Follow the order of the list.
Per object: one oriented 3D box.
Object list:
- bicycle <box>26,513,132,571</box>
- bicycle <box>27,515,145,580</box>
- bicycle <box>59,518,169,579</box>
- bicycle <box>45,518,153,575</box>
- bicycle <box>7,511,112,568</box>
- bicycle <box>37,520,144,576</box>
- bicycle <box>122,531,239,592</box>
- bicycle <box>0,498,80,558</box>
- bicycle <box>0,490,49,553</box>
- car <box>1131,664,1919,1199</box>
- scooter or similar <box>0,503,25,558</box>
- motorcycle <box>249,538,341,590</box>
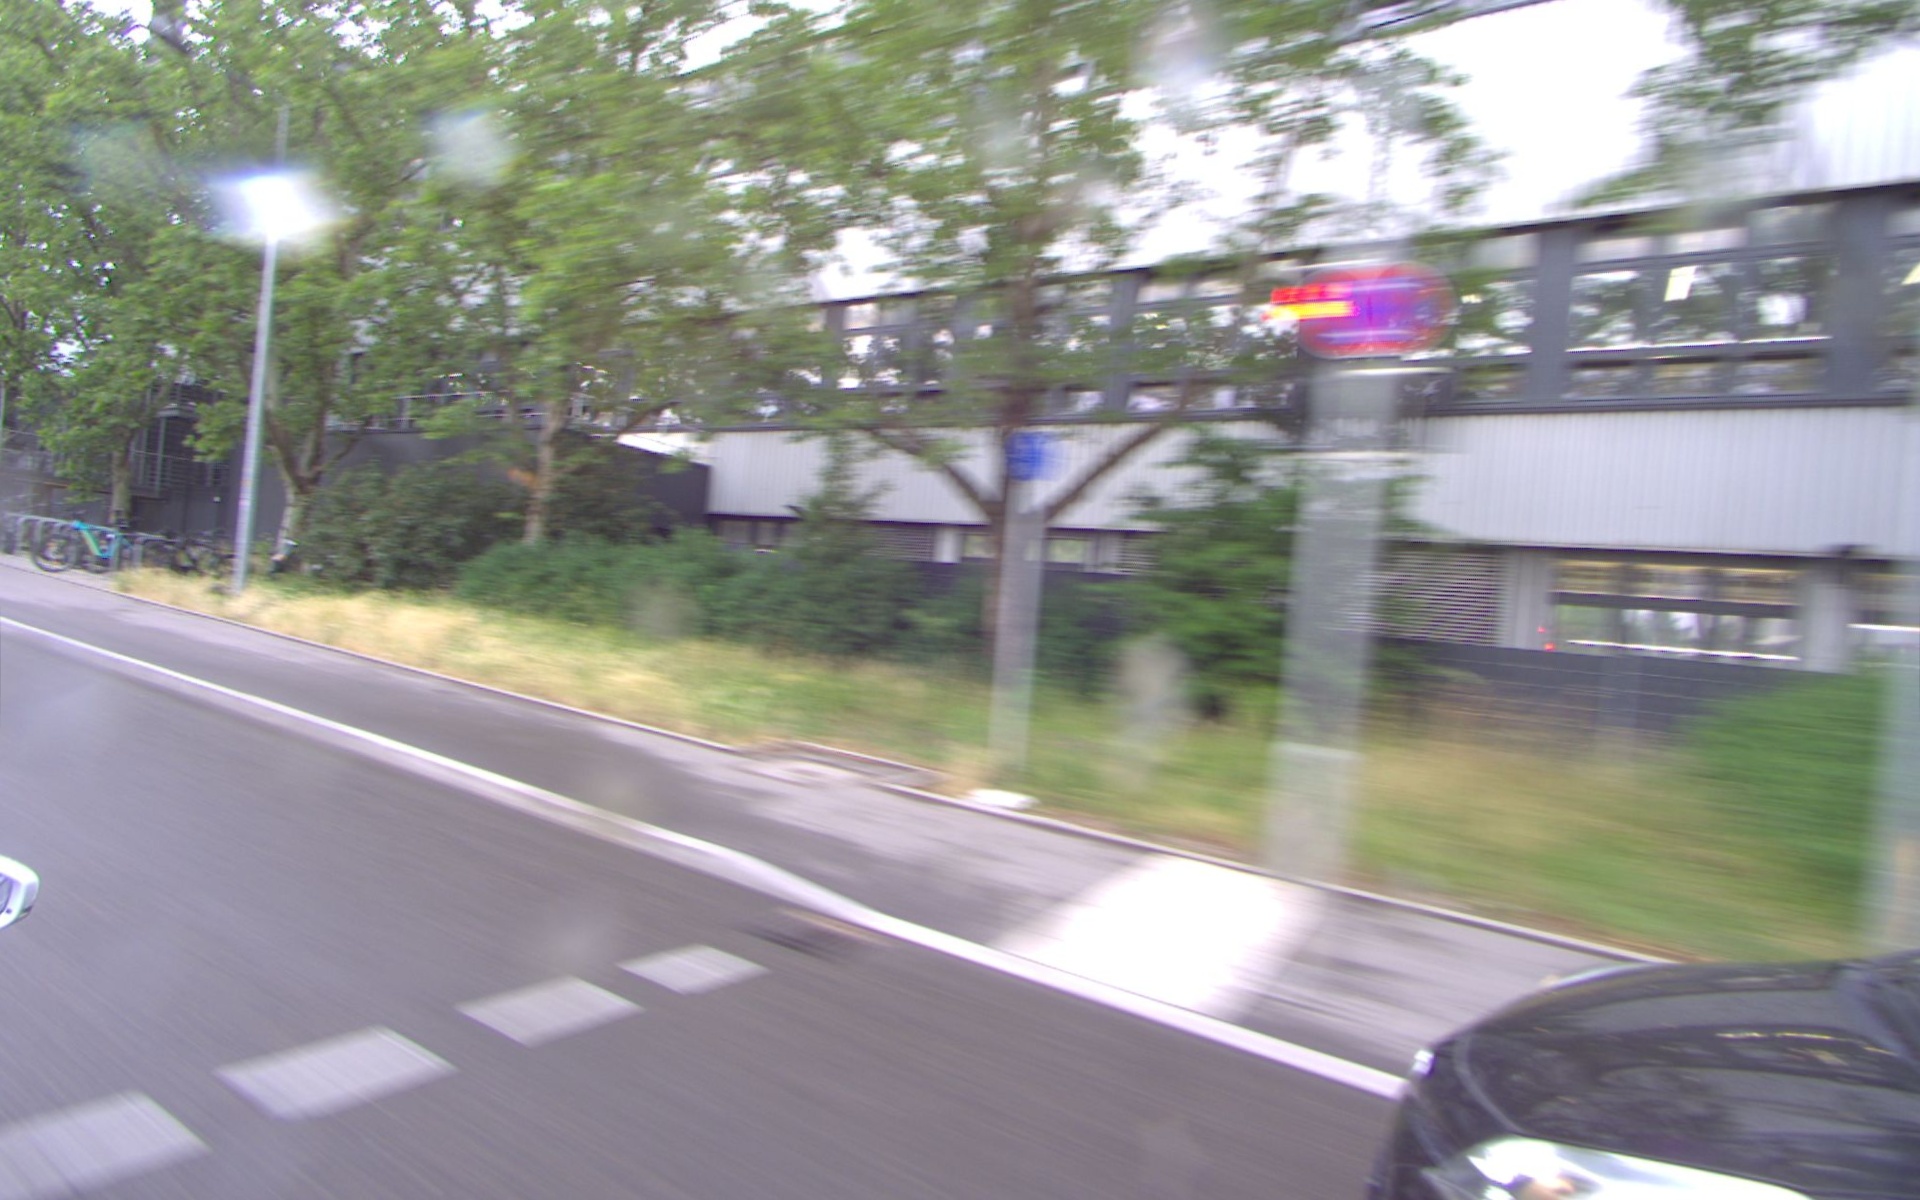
[{"bbox_3d":[-18.136,-1.183,20.744,0.387,1.018,1.553,7,1,31],"label":"bicycle"},{"bbox_3d":[-16.062,-0.951,18.519,0.387,1.018,1.553,7,1,31],"label":"bicycle"},{"bbox_3d":[-16.515,-0.981,19.677,0.387,1.018,1.553,7,1,31],"label":"bicycle"},{"bbox_3d":[-17.255,-1.053,20.200,0.387,0.970,1.553,7,1,31],"label":"bicycle"},{"bbox_3d":[-18.862,-1.249,21.097,0.387,1.018,1.553,7,1,31],"label":"bicycle"},{"bbox_3d":[-17.625,-1.043,20.422,0.387,0.970,1.553,7,1,31],"label":"bicycle"},{"bbox_3d":[-14.145,-0.681,18.298,0.381,0.951,1.609,7,1,31],"label":"bicycle"},{"bbox_3d":[-20.831,-1.607,22.397,0.440,1.182,1.792,7,1,25],"label":"bicycle"},{"bbox_3d":[-22.348,-1.868,23.249,0.439,1.365,1.863,7,1,19],"label":"bicycle"},{"bbox_3d":[2.661,1.118,1.162,4.563,1.487,1.747,6,-1,31],"label":"car"},{"bbox_3d":[-20.274,-1.492,20.853,0.307,1.105,1.215,7,1,27],"label":"scooter or similar"},{"bbox_3d":[-15.217,-0.817,23.056,0.567,1.014,1.609,7,1,31],"label":"motorcycle"}]
